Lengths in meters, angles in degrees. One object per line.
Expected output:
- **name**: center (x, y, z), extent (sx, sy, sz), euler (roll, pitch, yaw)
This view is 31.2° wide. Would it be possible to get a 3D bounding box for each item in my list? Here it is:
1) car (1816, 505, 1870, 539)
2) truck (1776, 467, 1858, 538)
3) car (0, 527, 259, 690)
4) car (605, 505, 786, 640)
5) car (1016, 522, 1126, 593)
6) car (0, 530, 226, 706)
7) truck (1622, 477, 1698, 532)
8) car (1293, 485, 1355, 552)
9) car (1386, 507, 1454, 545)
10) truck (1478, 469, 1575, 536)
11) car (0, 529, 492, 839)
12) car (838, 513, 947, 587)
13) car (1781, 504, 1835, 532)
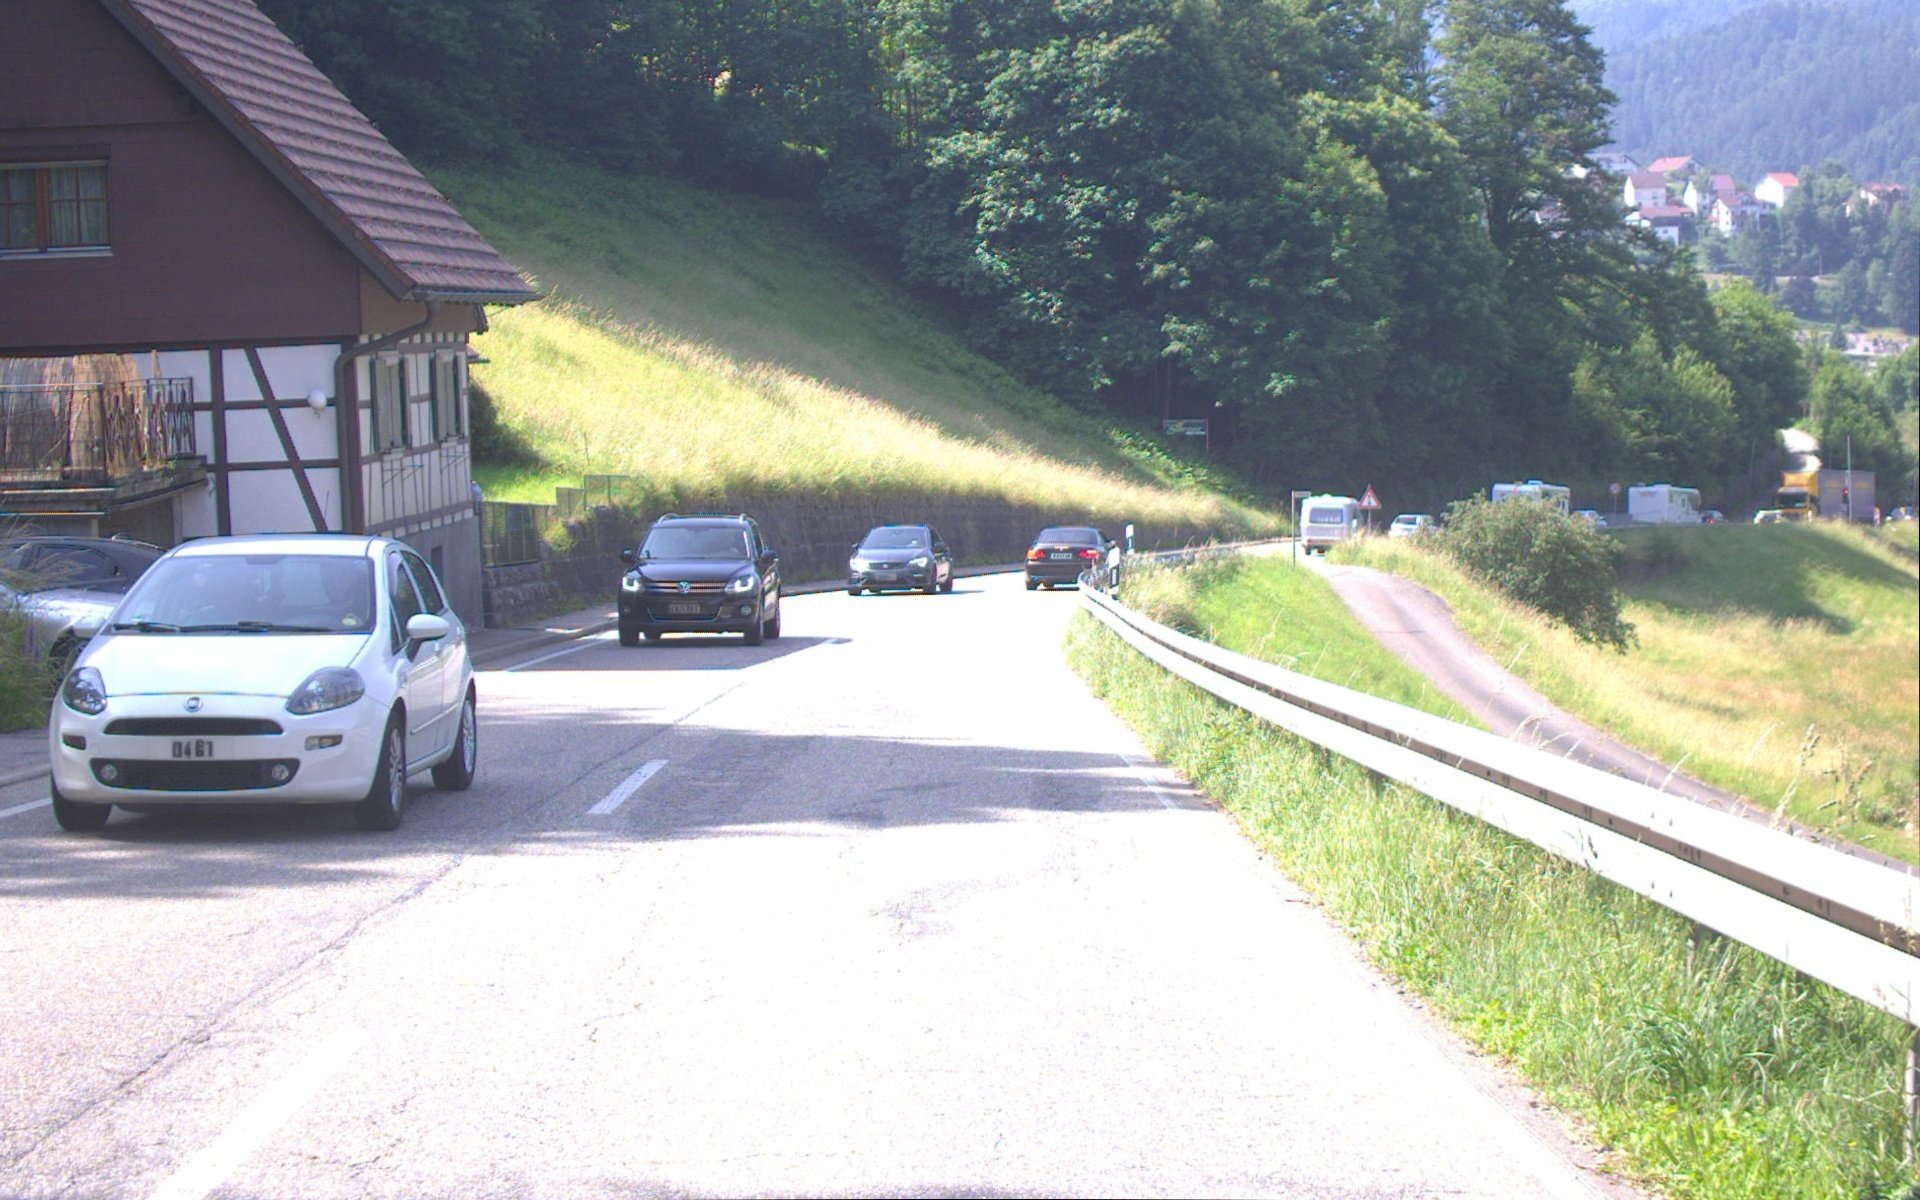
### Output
- **car**: center (55.003, -4.842, 214.093), extent (1.997, 1.919, 3.993), euler (4, 3, 32)
- **truck**: center (56.346, -6.402, 225.919), extent (3.194, 4.381, 6.559), euler (4, 3, 31)
- **car**: center (-8.652, 0.059, 31.994), extent (3.816, 1.428, 1.864), euler (0, 2, 3)
- **car**: center (-3.349, -0.366, 44.195), extent (1.889, 1.639, 4.258), euler (0, 1, 1)
- **car**: center (2.414, -0.925, 73.660), extent (1.772, 1.331, 3.766), euler (2, 3, 11)
- **car**: center (-8.392, 0.129, 29.320), extent (3.816, 1.412, 1.857), euler (0, 2, 3)
- **truck**: center (37.843, -5.144, 185.798), extent (2.241, 2.794, 6.222), euler (3, 1, 28)
- **car**: center (13.827, -3.116, 130.471), extent (1.994, 2.344, 4.913), euler (1, 3, 9)
- **car**: center (20.018, -3.248, 149.570), extent (1.996, 1.479, 3.996), euler (4, 4, 21)
- **truck**: center (27.335, -4.739, 165.706), extent (2.795, 2.987, 6.859), euler (4, 4, 24)
- **car**: center (-3.635, 0.379, 18.180), extent (1.777, 1.432, 4.000), euler (-1, 0, 0)
- **car**: center (-1.364, -1.064, 71.157), extent (1.765, 1.391, 4.145), euler (1, 3, 6)
- **car**: center (50.835, -4.915, 206.045), extent (1.910, 1.481, 3.993), euler (6, 3, 31)
